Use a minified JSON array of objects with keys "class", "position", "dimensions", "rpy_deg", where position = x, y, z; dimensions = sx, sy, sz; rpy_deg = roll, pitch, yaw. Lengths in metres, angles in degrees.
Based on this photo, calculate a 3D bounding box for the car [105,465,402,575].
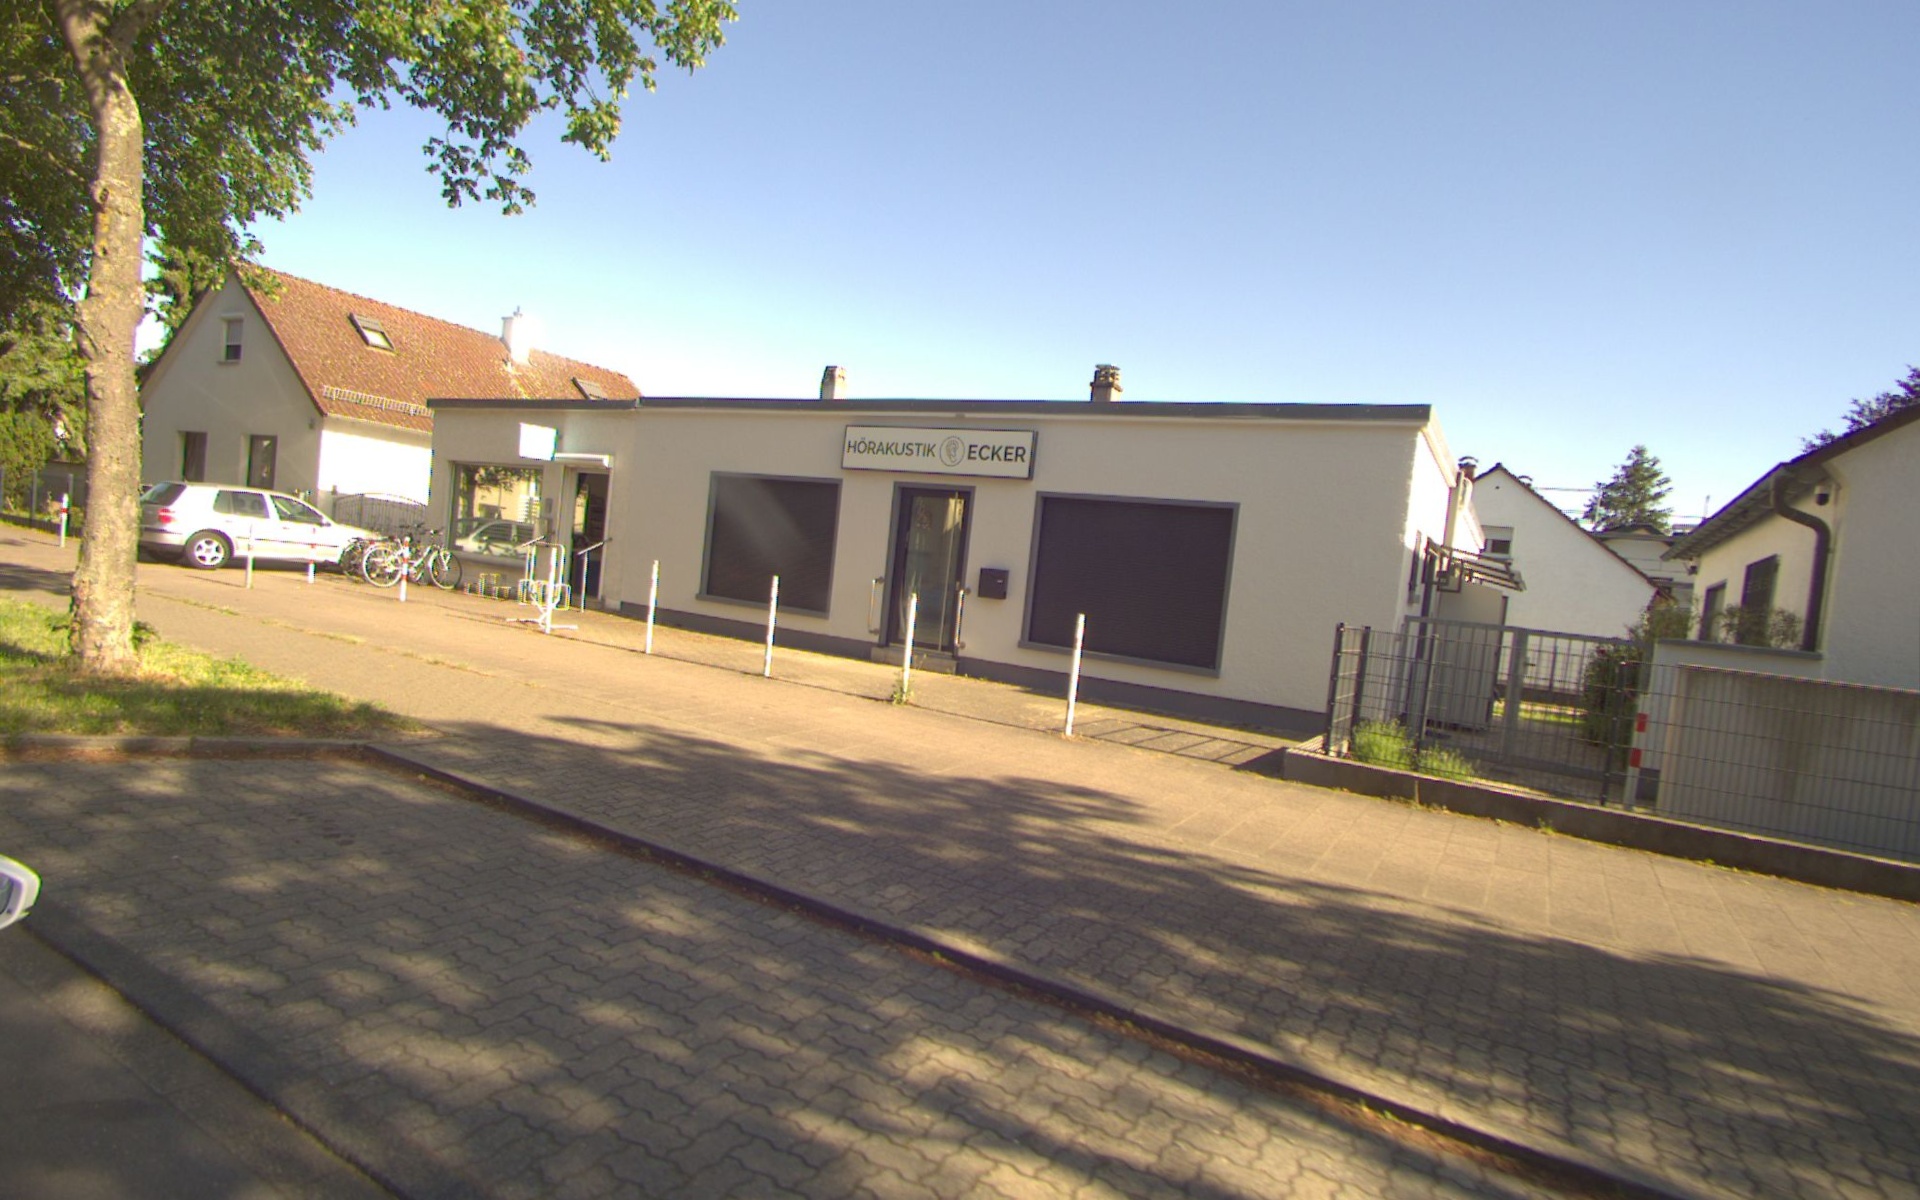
[{"class":"car","position":[-12.740,-1.395,18.402],"dimensions":[1.869,1.509,3.988],"rpy_deg":[9,4,29]}]

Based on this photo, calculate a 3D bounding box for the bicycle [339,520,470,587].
[{"class":"bicycle","position":[-9.698,-0.791,17.641],"dimensions":[0.566,1.012,1.959],"rpy_deg":[9,4,29]}]

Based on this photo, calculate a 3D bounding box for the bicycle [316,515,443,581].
[{"class":"bicycle","position":[-10.476,-0.916,18.221],"dimensions":[0.566,1.012,1.924],"rpy_deg":[9,4,29]}]

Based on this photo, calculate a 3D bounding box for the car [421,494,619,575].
[{"class":"car","position":[-10.477,-1.518,24.250],"dimensions":[1.869,1.509,3.989],"rpy_deg":[9,4,28]}]
